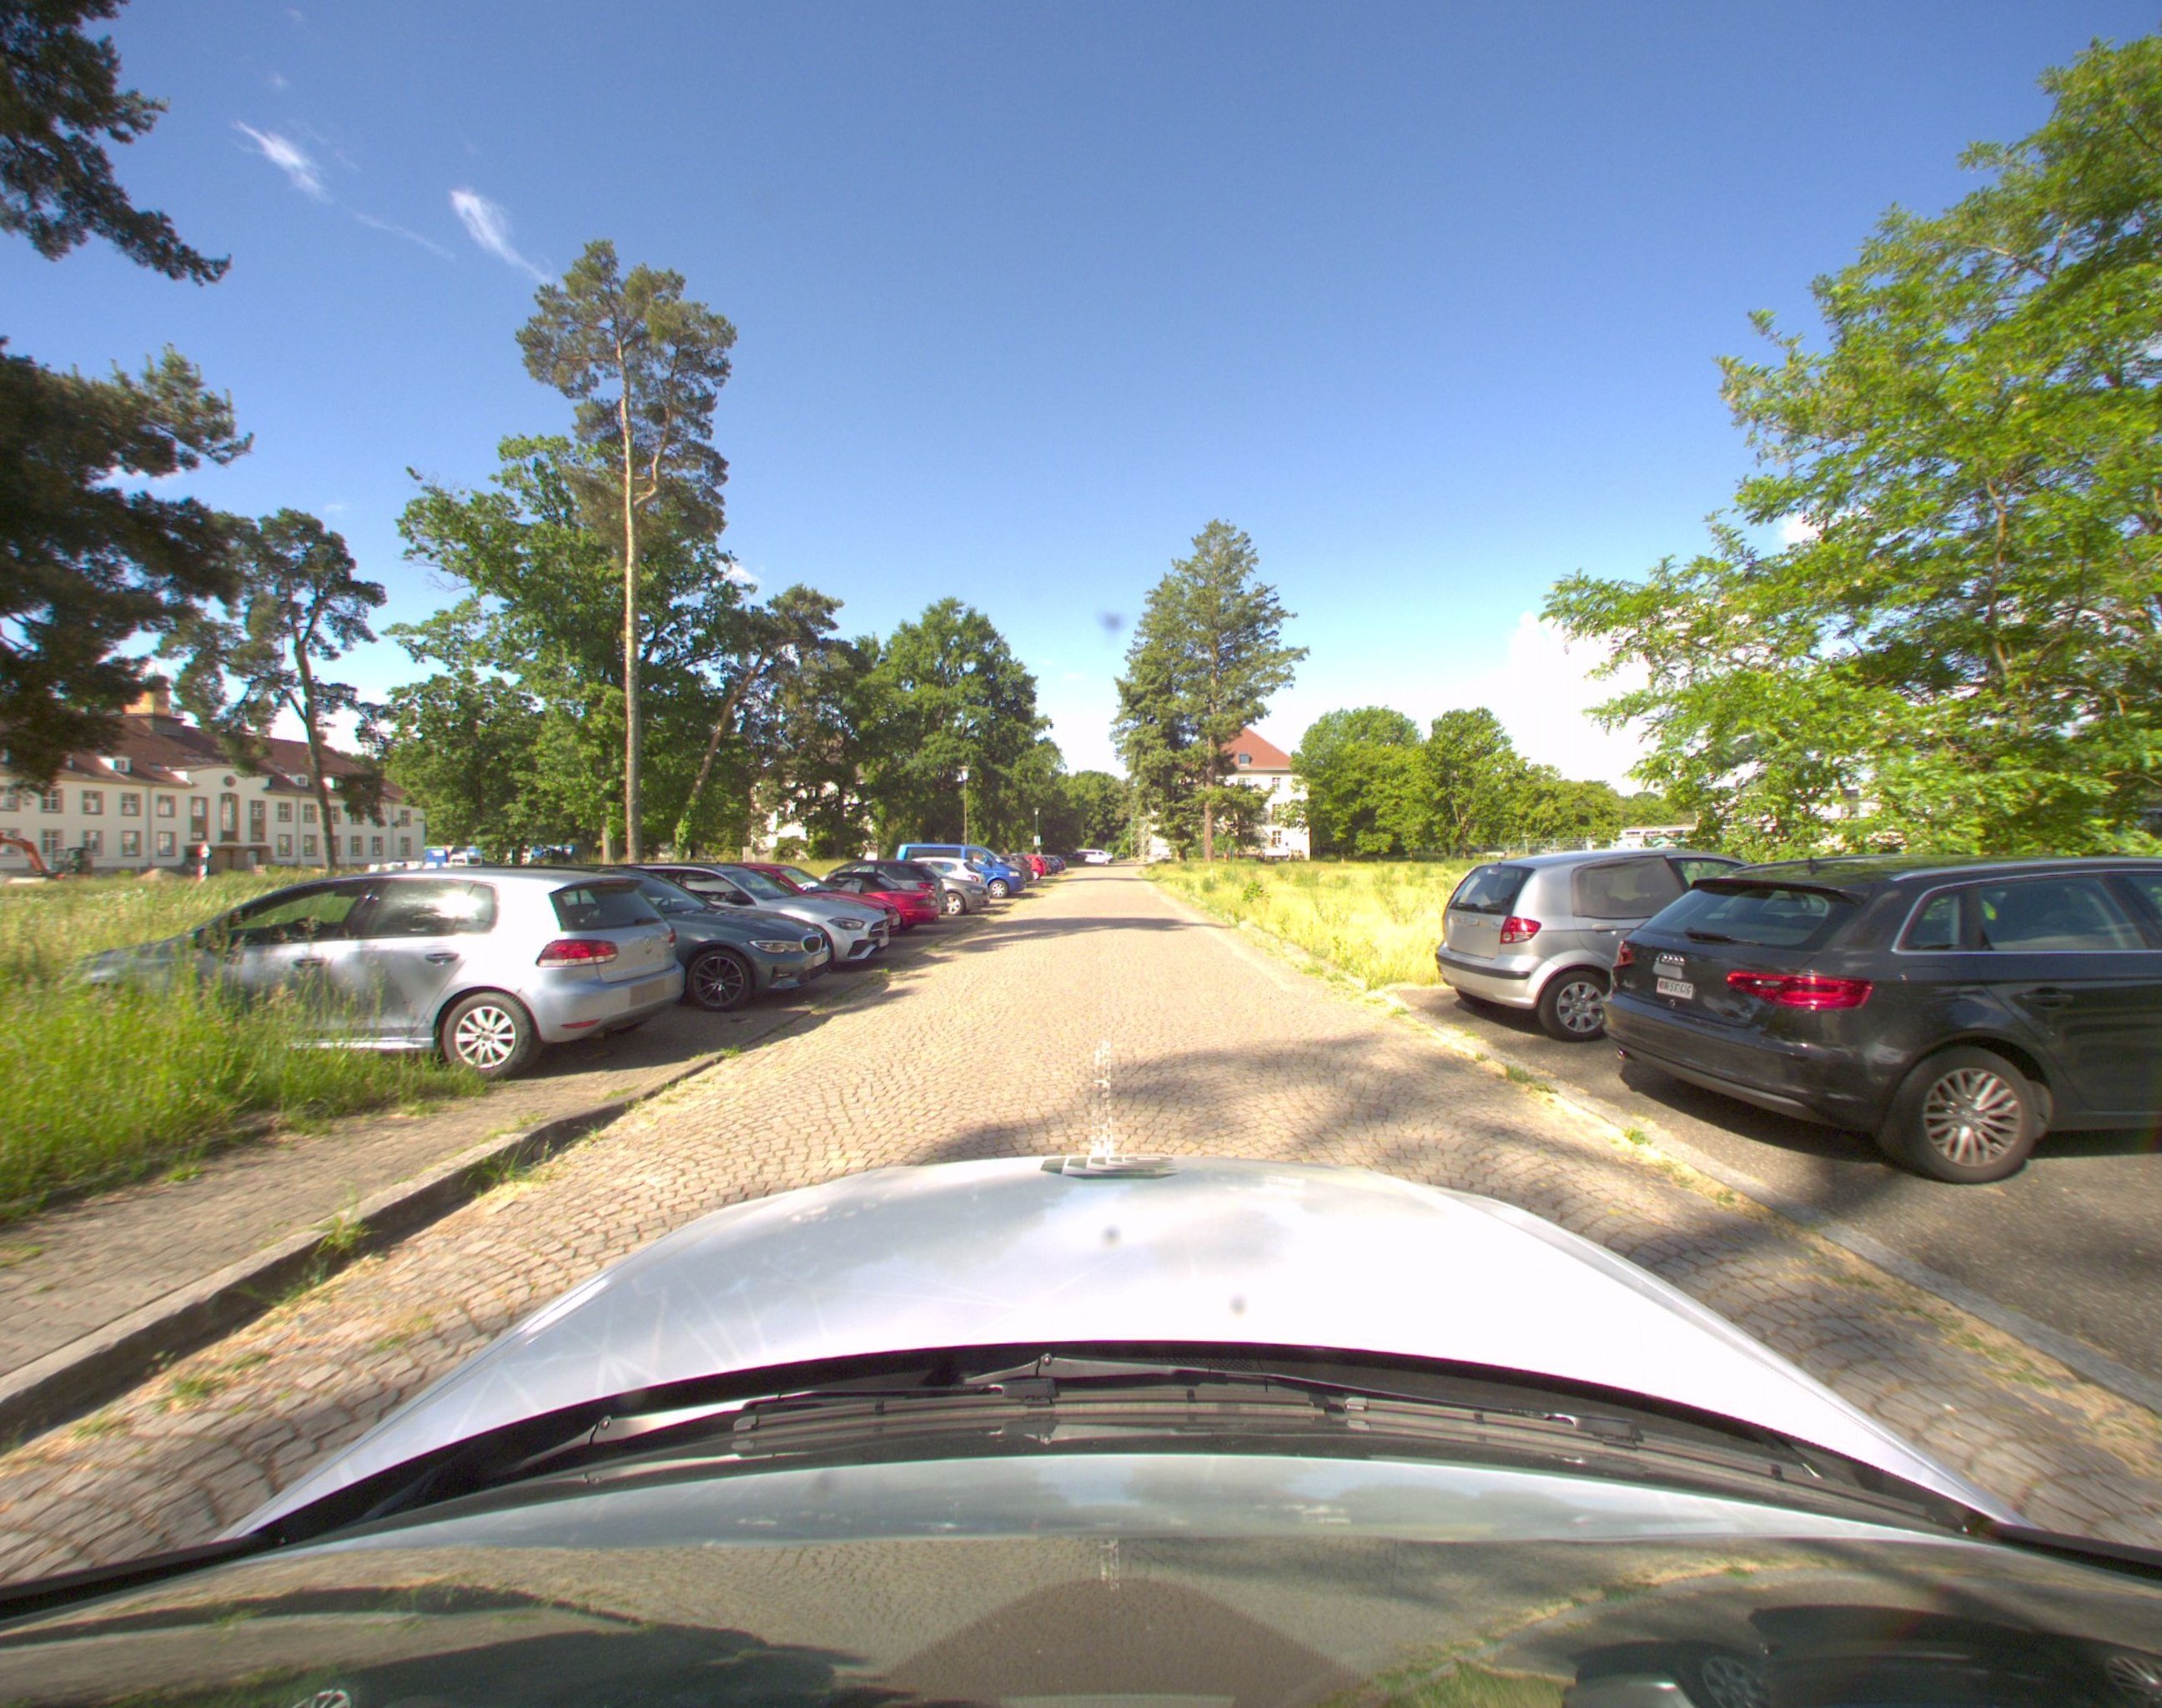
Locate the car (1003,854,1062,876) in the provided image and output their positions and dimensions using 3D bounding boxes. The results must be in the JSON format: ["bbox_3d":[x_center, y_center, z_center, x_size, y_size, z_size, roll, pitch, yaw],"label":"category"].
[{"bbox_3d":[-3.527,0.789,59.788,4.120,1.579,1.885,0,0,1],"label":"car"}]

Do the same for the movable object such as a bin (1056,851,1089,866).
[{"bbox_3d":[-1.043,0.581,100.233,3.536,1.744,2.035,-1,0,20],"label":"movable object such as a bin"}]

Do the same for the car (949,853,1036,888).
[{"bbox_3d":[-4.196,0.771,39.181,3.941,1.567,1.974,1,1,0],"label":"car"}]

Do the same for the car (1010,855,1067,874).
[{"bbox_3d":[-3.340,0.853,64.469,4.340,1.445,1.923,0,0,4],"label":"car"}]

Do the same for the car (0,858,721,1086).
[{"bbox_3d":[-5.346,0.814,6.521,4.014,1.483,1.948,1,0,-1],"label":"car"}]

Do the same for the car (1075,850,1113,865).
[{"bbox_3d":[1.780,0.464,113.288,5.216,2.016,1.950,0,0,0],"label":"car"}]

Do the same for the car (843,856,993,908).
[{"bbox_3d":[-4.917,0.816,24.954,4.181,1.475,1.824,1,0,1],"label":"car"}]

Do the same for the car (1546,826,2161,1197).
[{"bbox_3d":[5.122,0.659,4.524,3.992,1.441,1.843,-3,0,-1],"label":"car"}]

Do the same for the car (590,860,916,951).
[{"bbox_3d":[-5.537,0.843,14.210,4.846,1.421,1.939,1,0,1],"label":"car"}]

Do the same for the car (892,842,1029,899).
[{"bbox_3d":[-4.377,0.600,30.231,4.700,1.968,2.006,1,0,1],"label":"car"}]

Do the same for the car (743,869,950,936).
[{"bbox_3d":[-4.656,0.951,16.508,3.616,1.234,1.761,1,-1,2],"label":"car"}]

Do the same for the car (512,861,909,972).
[{"bbox_3d":[-5.171,0.850,11.860,4.846,1.421,1.939,1,-1,1],"label":"car"}]

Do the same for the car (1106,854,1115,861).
[{"bbox_3d":[6.509,0.782,179.248,1.806,1.579,4.135,-1,0,1],"label":"car"}]

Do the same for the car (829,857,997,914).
[{"bbox_3d":[-4.463,0.821,22.064,4.060,1.425,1.924,1,0,2],"label":"car"}]

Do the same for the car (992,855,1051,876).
[{"bbox_3d":[-4.177,0.802,57.401,3.907,1.433,1.843,0,0,2],"label":"car"}]

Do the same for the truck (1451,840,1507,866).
[{"bbox_3d":[38.852,-0.091,79.721,2.225,2.424,6.887,1,0,1],"label":"truck"}]

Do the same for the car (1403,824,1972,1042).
[{"bbox_3d":[5.117,0.619,7.269,3.729,1.476,1.751,-3,0,-1],"label":"car"}]

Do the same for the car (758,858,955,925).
[{"bbox_3d":[-5.187,0.859,19.188,4.060,1.452,1.823,1,-1,2],"label":"car"}]

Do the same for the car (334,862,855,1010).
[{"bbox_3d":[-5.111,0.837,9.139,4.569,1.452,1.983,1,-1,-2],"label":"car"}]

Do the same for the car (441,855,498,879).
[{"bbox_3d":[-65.968,1.389,87.911,1.976,2.436,5.280,-1,0,2],"label":"car"}]

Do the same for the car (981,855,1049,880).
[{"bbox_3d":[-3.971,0.805,49.511,3.911,1.461,1.842,1,0,0],"label":"car"}]

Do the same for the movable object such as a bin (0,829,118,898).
[{"bbox_3d":[-61.046,0.561,47.236,3.934,3.731,6.740,-1,0,-22],"label":"movable object such as a bin"}]

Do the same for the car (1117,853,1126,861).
[{"bbox_3d":[8.913,0.693,179.509,1.964,1.668,4.087,-1,0,1],"label":"car"}]
